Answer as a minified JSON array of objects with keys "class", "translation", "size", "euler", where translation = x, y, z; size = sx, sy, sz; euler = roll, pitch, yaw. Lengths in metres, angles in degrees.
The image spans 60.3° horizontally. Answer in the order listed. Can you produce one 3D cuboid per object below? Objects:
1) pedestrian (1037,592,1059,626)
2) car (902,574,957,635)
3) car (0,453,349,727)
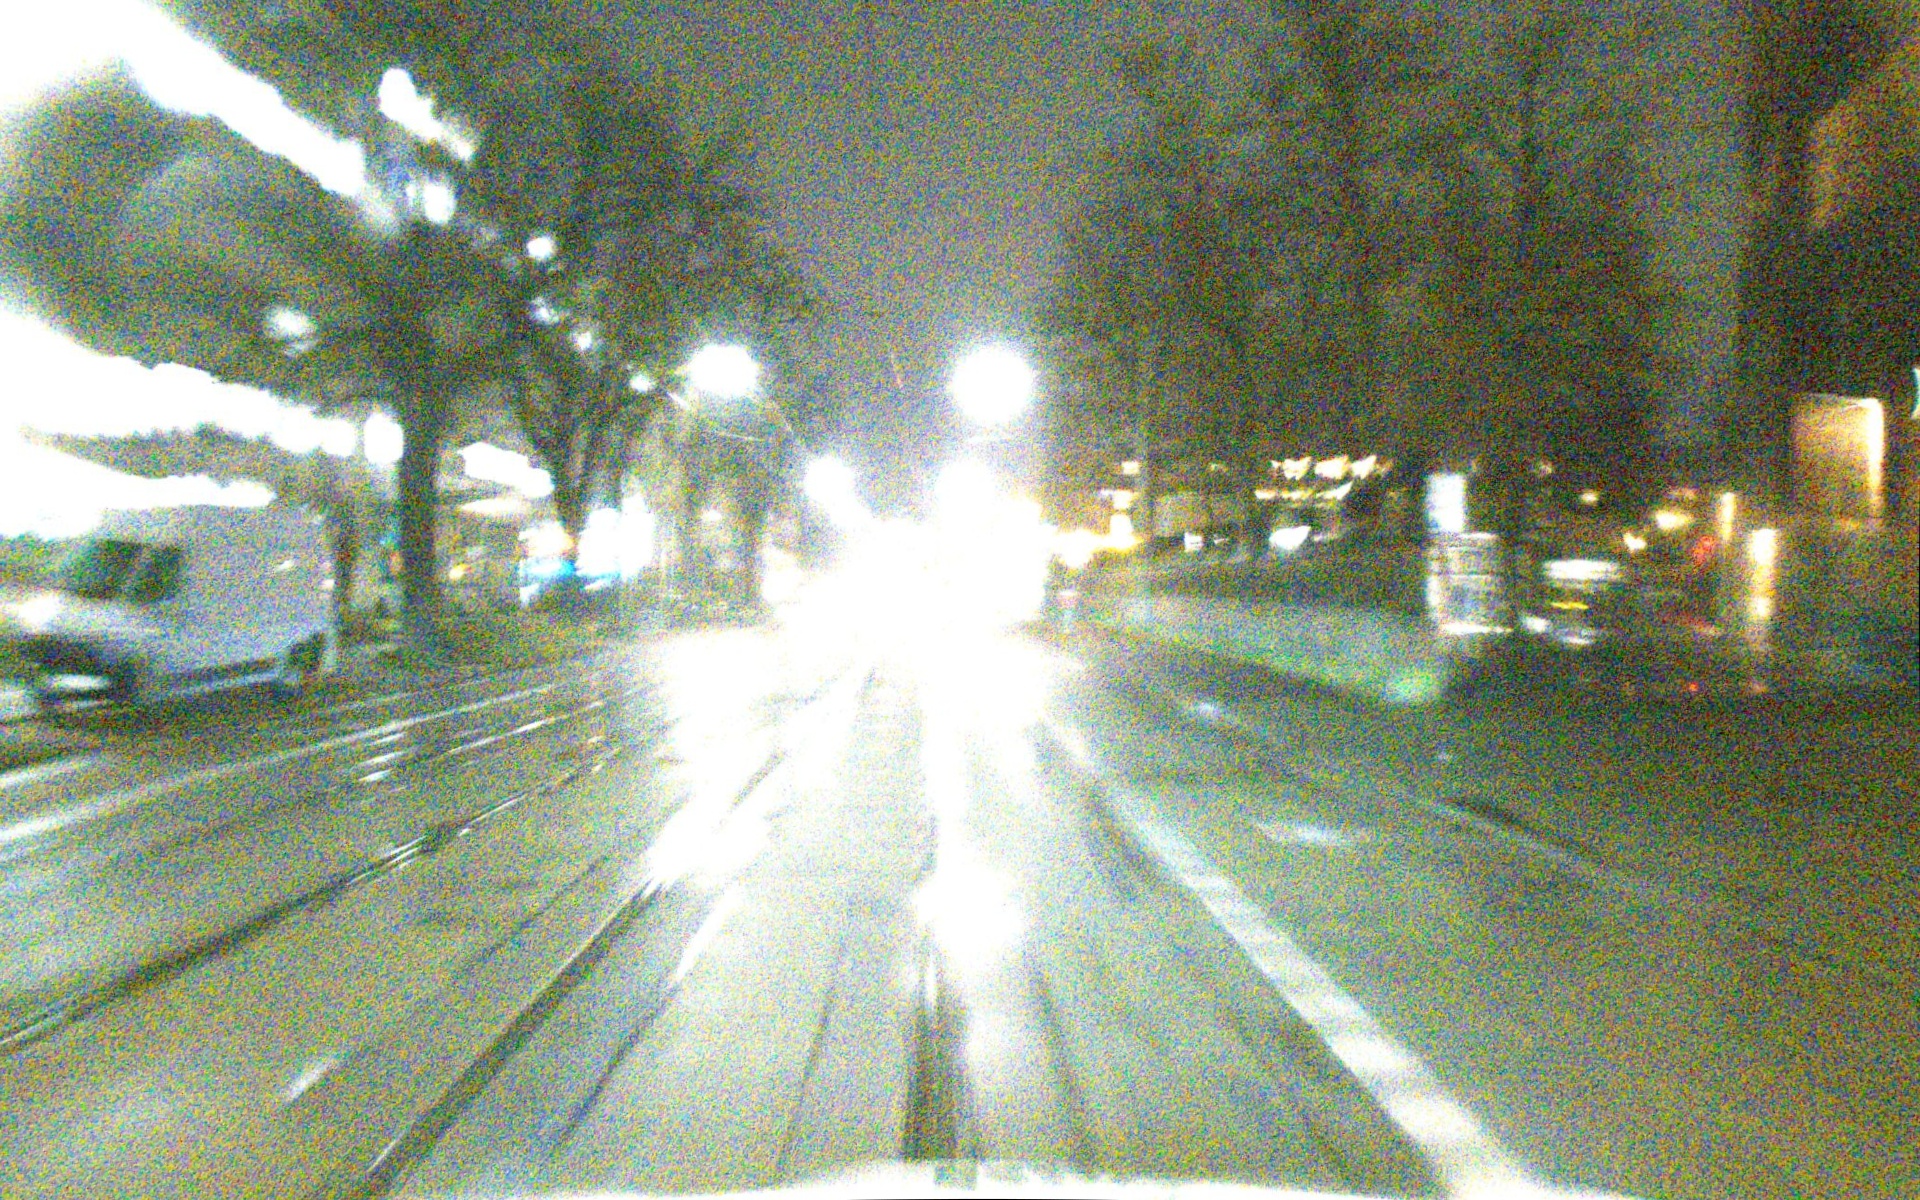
[{"class":"pedestrian","translation":[4.451,0.463,83.532],"size":[0.921,1.693,0.993],"euler":[-1,0,-5]},{"class":"car","translation":[-1.307,0.186,69.240],"size":[2.199,2.402,4.392],"euler":[1,0,-2]},{"class":"car","translation":[-9.445,-0.153,19.235],"size":[2.140,2.637,6.393],"euler":[1,1,1]}]
